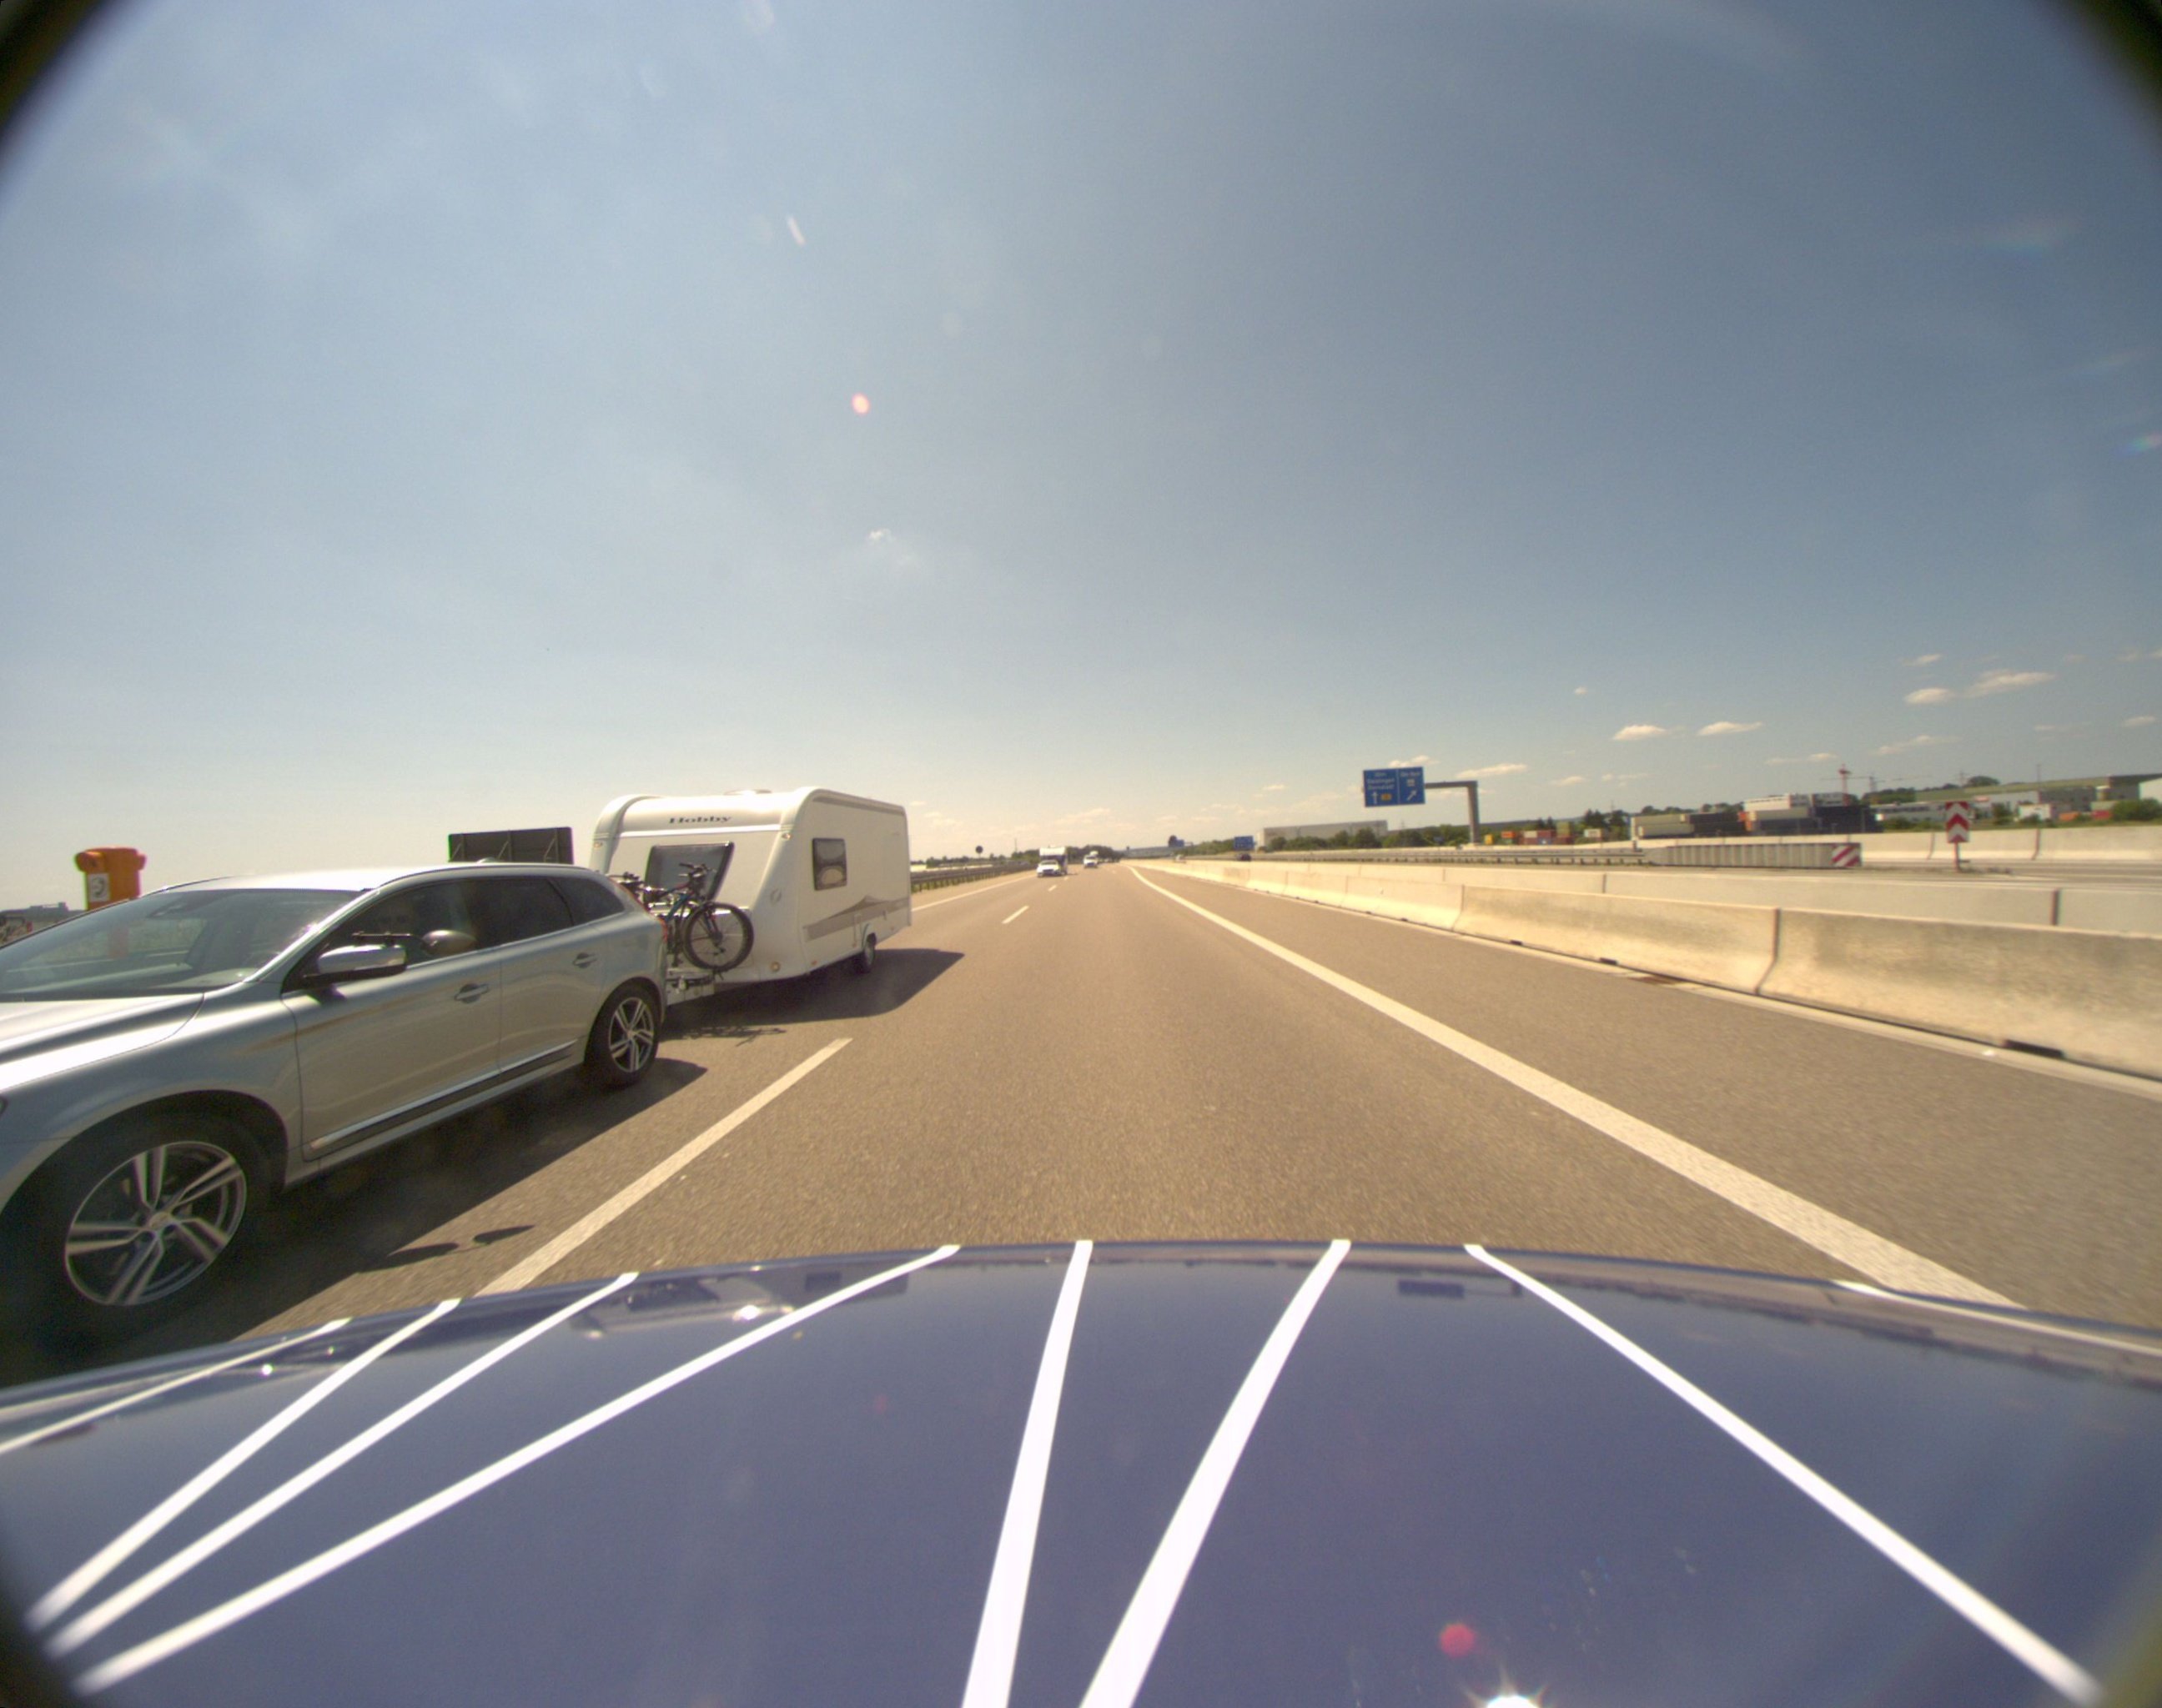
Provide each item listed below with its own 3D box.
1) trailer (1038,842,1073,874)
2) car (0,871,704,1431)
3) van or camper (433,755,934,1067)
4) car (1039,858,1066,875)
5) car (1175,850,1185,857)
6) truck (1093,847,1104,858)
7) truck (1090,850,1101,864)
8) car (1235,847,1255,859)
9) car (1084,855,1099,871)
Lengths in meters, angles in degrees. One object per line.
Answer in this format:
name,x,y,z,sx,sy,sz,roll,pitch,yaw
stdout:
trailer,-2.289,0.329,69.889,2.500,2.686,7.156,-2,0,3
car,-4.215,0.984,3.976,1.885,1.613,4.904,-2,0,1
van or camper,-4.176,0.515,10.425,2.518,2.577,7.818,-2,0,1
car,-2.394,1.026,64.505,1.872,1.352,3.673,-1,0,3
car,23.195,-0.154,177.874,1.814,1.427,4.442,-3,0,1
truck,4.413,-0.392,188.236,2.167,2.797,6.492,-2,0,5
truck,3.183,0.603,162.374,2.168,2.797,6.490,-2,0,1
car,21.774,-0.153,101.128,1.737,1.528,4.548,-2,0,1
car,1.428,1.251,106.277,1.998,2.002,4.000,-2,0,1
